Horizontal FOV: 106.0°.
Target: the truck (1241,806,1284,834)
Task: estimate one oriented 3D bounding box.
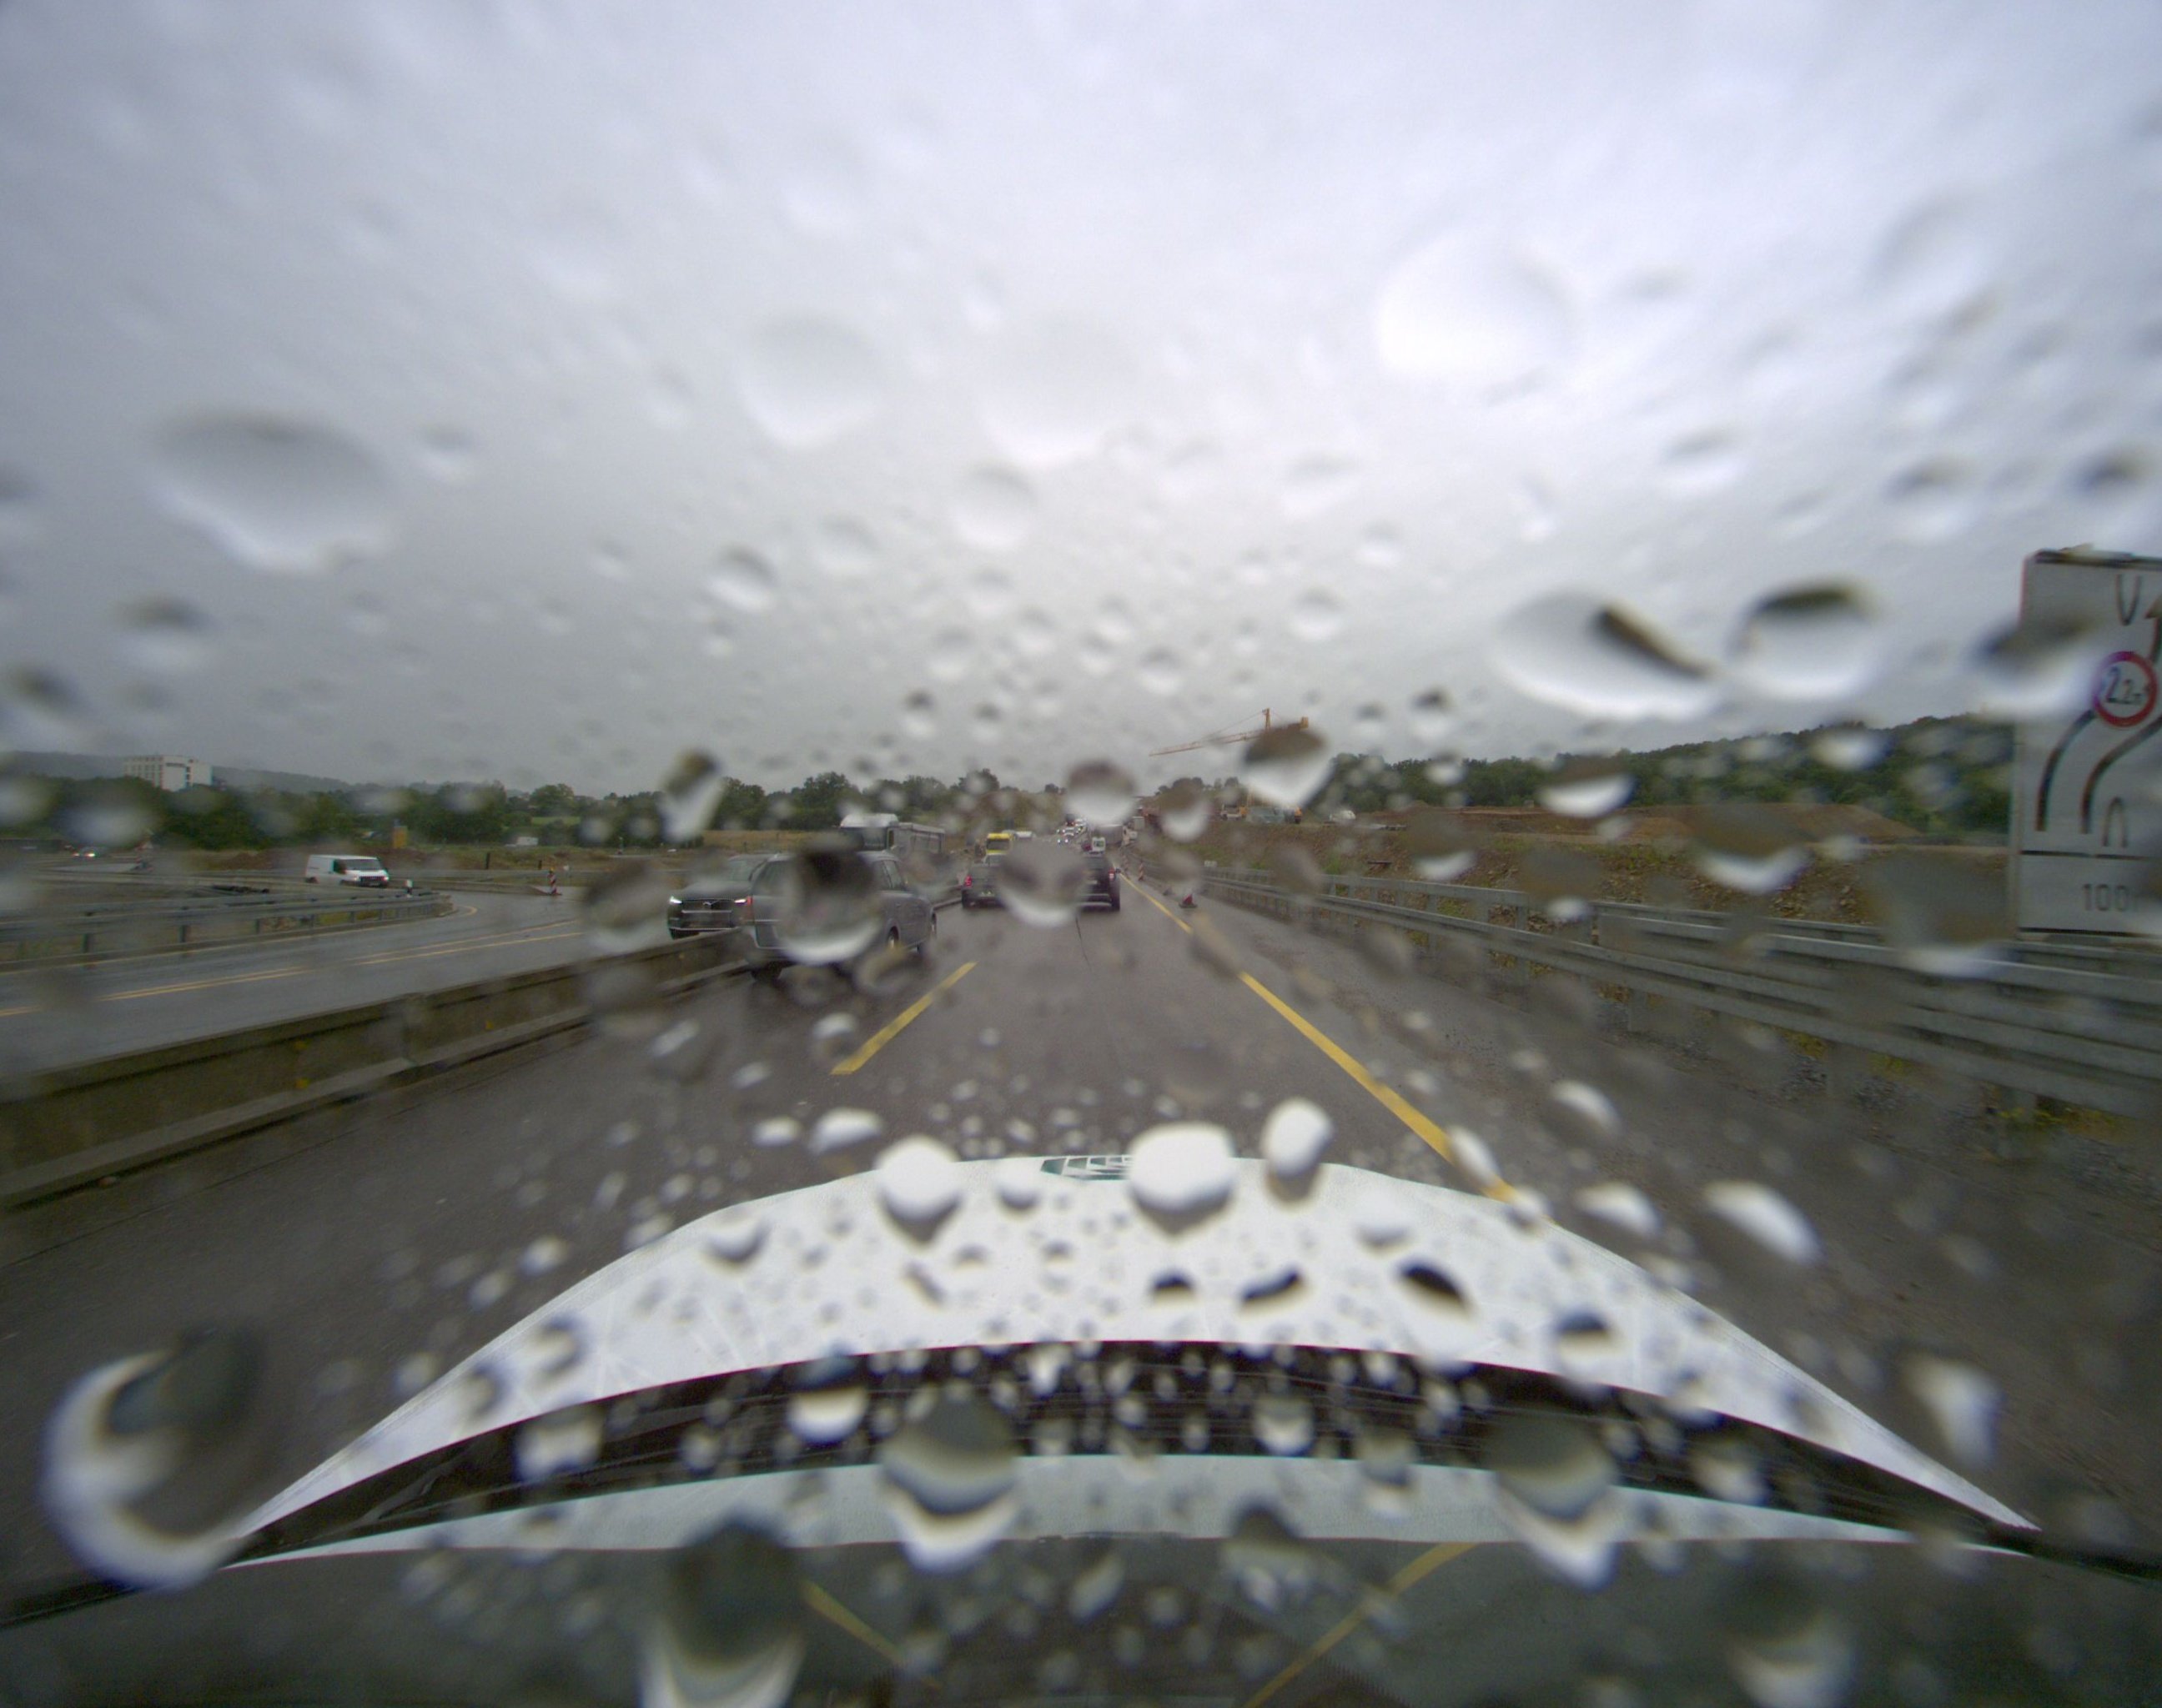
[{"bbox_3d":[21.231,-3.924,95.663,3.382,2.875,8.965,0,0,2],"label":"truck"}]

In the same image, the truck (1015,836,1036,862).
[{"bbox_3d":[-8.125,-0.752,120.282,2.612,3.677,6.595,0,0,0],"label":"truck"}]

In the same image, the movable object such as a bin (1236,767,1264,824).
[{"bbox_3d":[34.179,-11.629,164.423,4.683,10.842,10.346,-1,0,15],"label":"movable object such as a bin"}]

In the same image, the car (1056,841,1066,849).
[{"bbox_3d":[-4.041,-1.729,161.749,1.766,1.504,4.679,-1,1,0],"label":"car"}]

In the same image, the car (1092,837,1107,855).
[{"bbox_3d":[2.662,-1.174,119.041,1.985,2.484,4.986,0,0,3],"label":"car"}]

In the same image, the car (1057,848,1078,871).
[{"bbox_3d":[-1.322,0.534,80.445,1.988,2.163,4.137,0,0,-2],"label":"car"}]

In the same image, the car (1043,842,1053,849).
[{"bbox_3d":[-6.675,-1.727,164.354,1.782,1.546,4.000,0,1,0],"label":"car"}]

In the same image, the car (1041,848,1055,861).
[{"bbox_3d":[-4.868,0.054,121.545,1.859,1.800,4.163,0,0,0],"label":"car"}]

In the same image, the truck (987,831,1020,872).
[{"bbox_3d":[-8.070,-0.265,85.325,2.740,4.062,6.149,0,0,1],"label":"truck"}]

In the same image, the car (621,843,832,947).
[{"bbox_3d":[-6.549,0.680,15.714,1.986,1.655,4.471,-2,0,1],"label":"car"}]

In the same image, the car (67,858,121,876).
[{"bbox_3d":[-101.376,1.301,83.706,1.856,1.700,4.998,0,0,-30],"label":"car"}]

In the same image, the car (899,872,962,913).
[{"bbox_3d":[-5.928,1.494,32.504,1.703,1.453,4.000,0,0,1],"label":"car"}]

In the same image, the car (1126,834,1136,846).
[{"bbox_3d":[10.683,-2.934,173.525,1.986,2.484,4.743,0,0,2],"label":"car"}]

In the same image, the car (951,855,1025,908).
[{"bbox_3d":[-3.006,0.854,27.066,1.987,1.600,4.139,0,0,-1],"label":"car"}]

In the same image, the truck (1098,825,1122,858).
[{"bbox_3d":[5.115,-2.071,141.587,3.083,5.426,9.466,0,0,9],"label":"truck"}]

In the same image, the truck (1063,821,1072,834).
[{"bbox_3d":[-4.121,-8.434,256.649,2.633,3.969,9.214,0,2,0],"label":"truck"}]

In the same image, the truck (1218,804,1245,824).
[{"bbox_3d":[21.580,-5.756,117.271,2.636,2.554,6.984,0,0,0],"label":"truck"}]

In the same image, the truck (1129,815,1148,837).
[{"bbox_3d":[14.096,-6.830,199.742,3.791,5.042,12.921,0,0,0],"label":"truck"}]

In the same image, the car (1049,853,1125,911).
[{"bbox_3d":[0.231,0.772,24.454,2.073,1.600,4.142,0,0,2],"label":"car"}]

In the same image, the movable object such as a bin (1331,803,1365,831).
[{"bbox_3d":[37.403,-5.135,114.332,2.335,3.599,6.555,0,0,-2],"label":"movable object such as a bin"}]

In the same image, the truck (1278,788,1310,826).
[{"bbox_3d":[25.854,-5.645,99.125,2.365,4.218,5.979,0,0,0],"label":"truck"}]

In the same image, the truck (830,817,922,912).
[{"bbox_3d":[-9.168,0.442,37.060,2.676,3.927,5.274,-2,0,1],"label":"truck"}]

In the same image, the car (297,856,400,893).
[{"bbox_3d":[-42.352,1.161,47.103,4.987,2.013,2.283,0,0,19],"label":"car"}]

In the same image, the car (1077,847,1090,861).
[{"bbox_3d":[0.400,-0.023,125.718,1.986,2.163,4.142,0,0,2],"label":"car"}]

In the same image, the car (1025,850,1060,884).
[{"bbox_3d":[-2.390,0.794,51.417,1.987,2.013,3.893,0,0,0],"label":"car"}]

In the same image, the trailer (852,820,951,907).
[{"bbox_3d":[-9.053,0.440,42.404,2.676,3.963,9.821,-2,0,1],"label":"trailer"}]

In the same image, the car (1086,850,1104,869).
[{"bbox_3d":[1.641,0.643,95.825,1.986,2.163,4.142,0,0,2],"label":"car"}]

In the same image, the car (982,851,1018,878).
[{"bbox_3d":[-5.652,0.727,57.216,1.868,1.793,5.360,-1,0,1],"label":"car"}]

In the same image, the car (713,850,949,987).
[{"bbox_3d":[-3.284,0.768,11.676,1.986,1.600,4.142,0,0,2],"label":"car"}]

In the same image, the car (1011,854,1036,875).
[{"bbox_3d":[-5.245,0.972,75.281,1.781,1.805,5.190,-2,0,1],"label":"car"}]

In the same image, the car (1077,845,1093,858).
[{"bbox_3d":[0.692,-0.474,136.920,1.982,2.163,4.150,0,0,8],"label":"car"}]

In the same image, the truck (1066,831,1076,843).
[{"bbox_3d":[-2.305,-3.793,182.548,2.071,2.576,5.962,0,0,0],"label":"truck"}]

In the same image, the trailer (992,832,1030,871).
[{"bbox_3d":[-7.886,-0.235,93.523,2.739,4.042,15.361,0,0,1],"label":"trailer"}]

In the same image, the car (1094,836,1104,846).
[{"bbox_3d":[3.841,-2.691,170.097,1.986,2.163,4.142,0,0,1],"label":"car"}]

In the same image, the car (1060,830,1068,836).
[{"bbox_3d":[-4.154,-5.277,203.984,1.780,1.538,4.312,-1,1,1],"label":"car"}]
